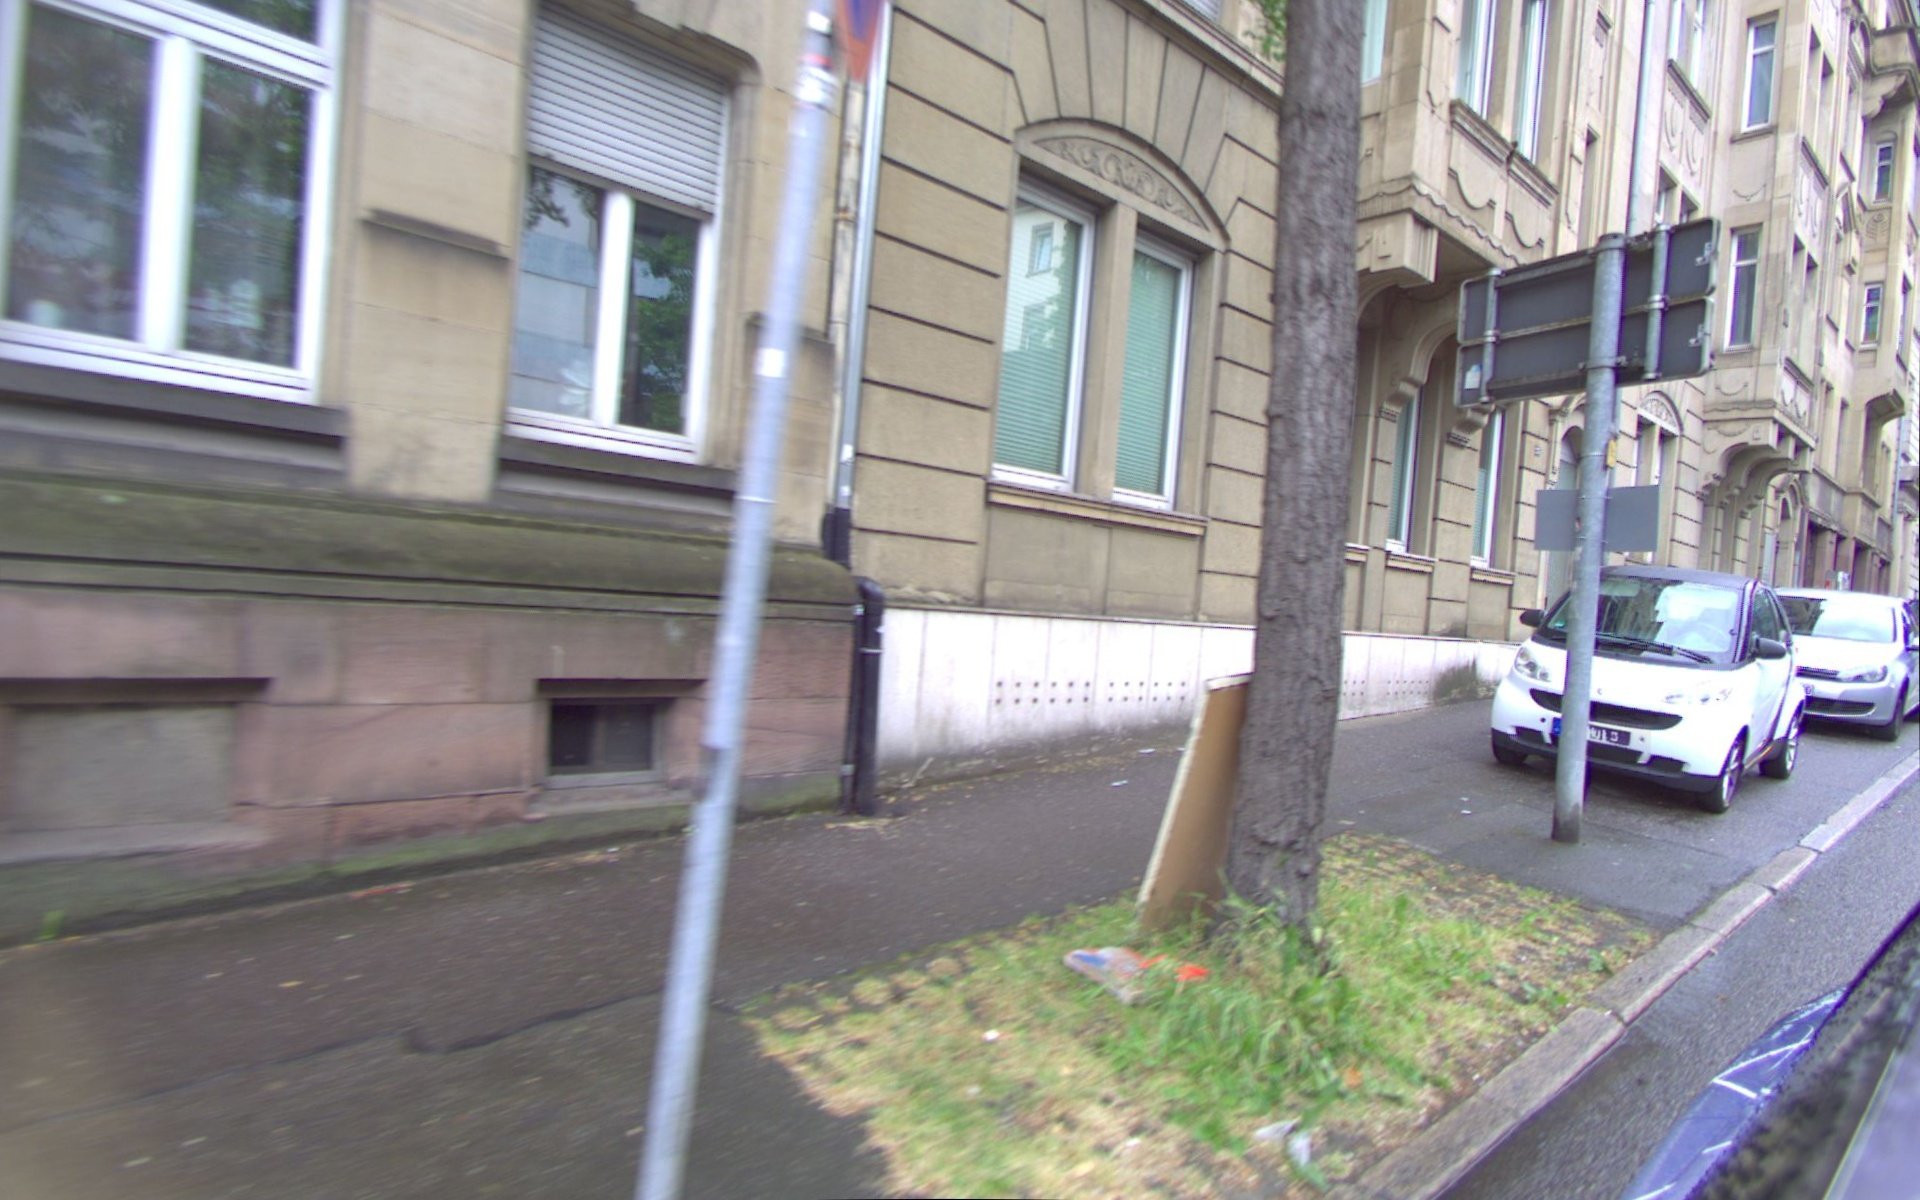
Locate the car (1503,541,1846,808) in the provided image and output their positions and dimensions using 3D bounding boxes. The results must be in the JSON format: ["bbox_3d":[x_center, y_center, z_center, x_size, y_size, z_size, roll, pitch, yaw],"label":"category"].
[{"bbox_3d":[5.494,0.435,7.684,2.923,1.561,1.303,0,6,-41],"label":"car"}]

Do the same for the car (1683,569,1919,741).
[{"bbox_3d":[9.935,0.504,11.511,3.929,1.468,1.765,0,7,-41],"label":"car"}]

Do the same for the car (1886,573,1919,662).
[{"bbox_3d":[20.421,0.416,20.486,4.025,1.670,1.765,0,7,-40],"label":"car"}]
